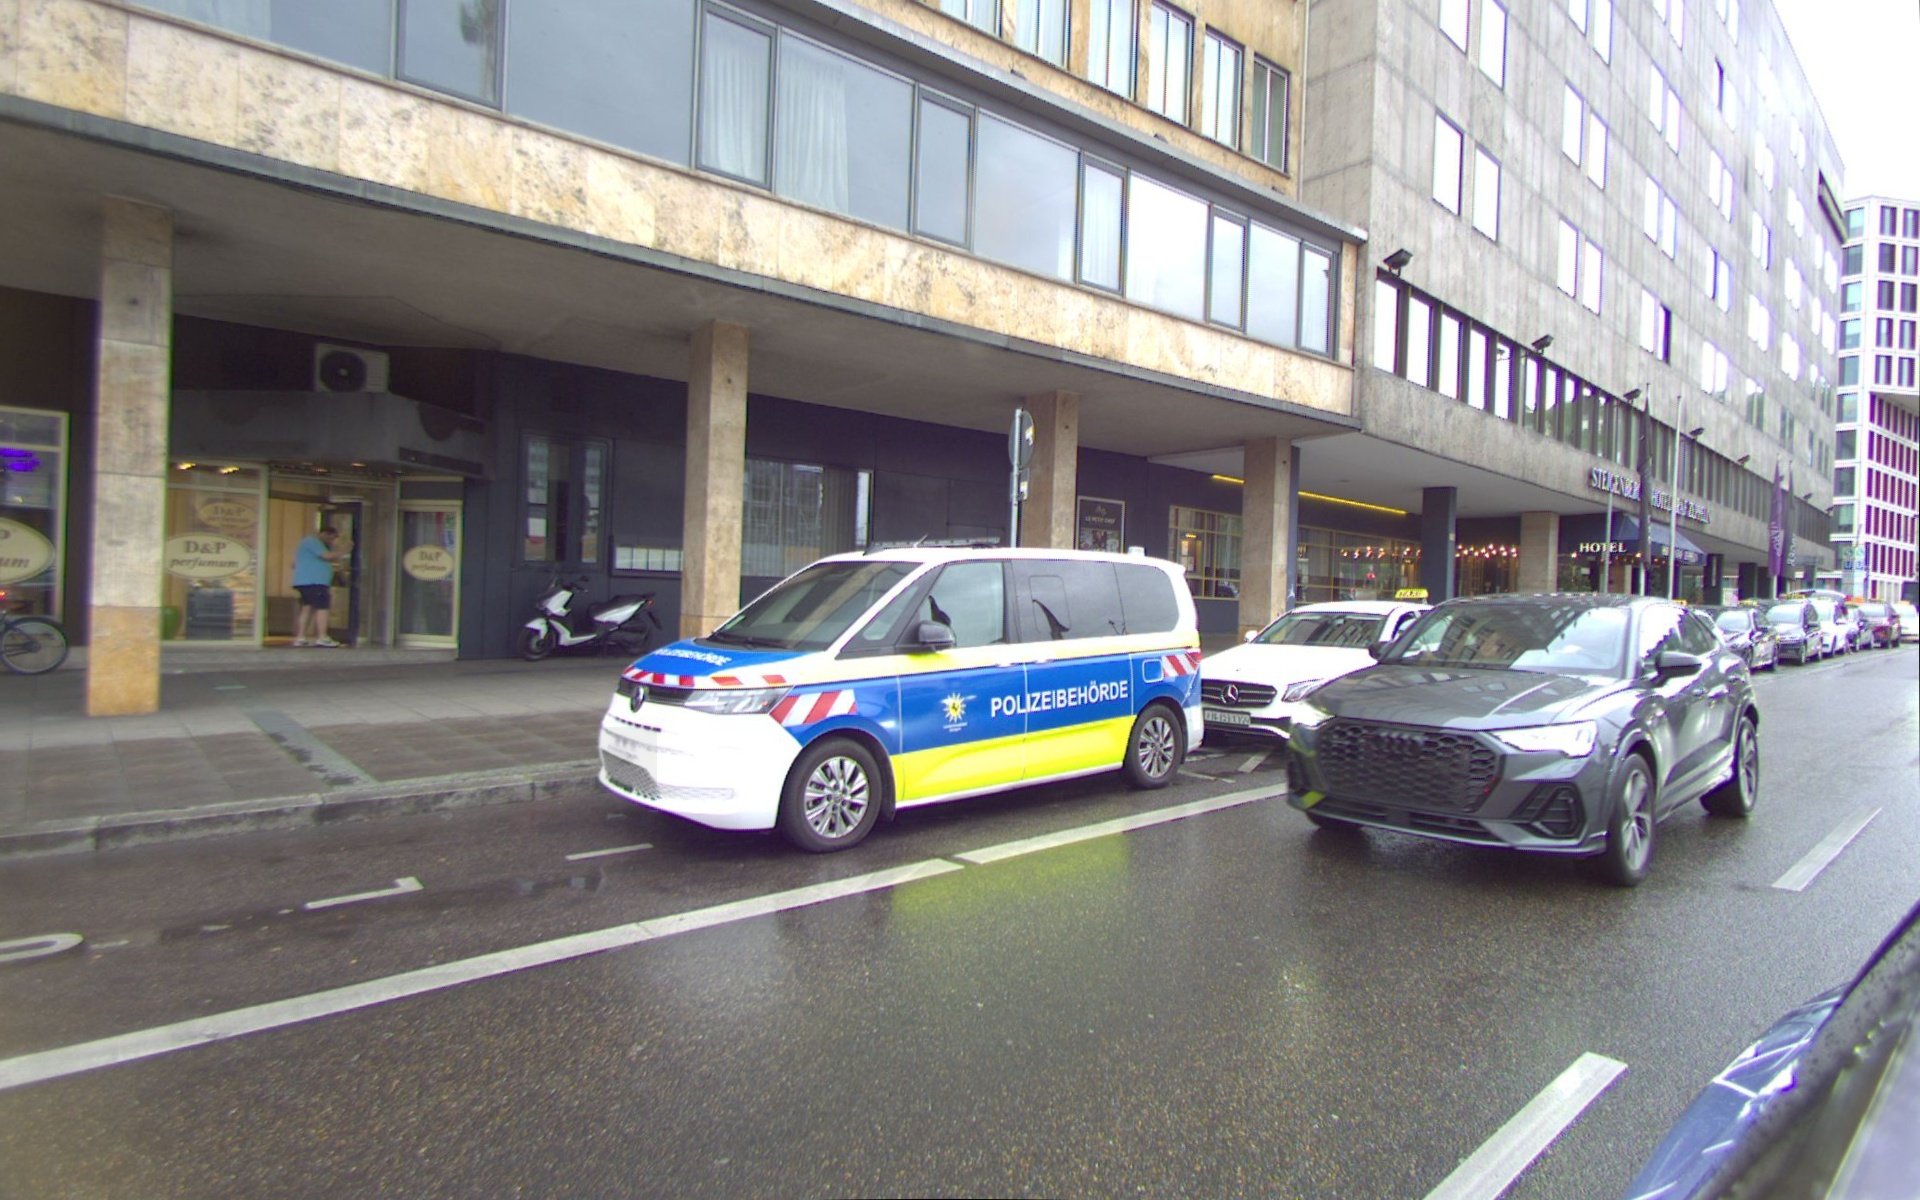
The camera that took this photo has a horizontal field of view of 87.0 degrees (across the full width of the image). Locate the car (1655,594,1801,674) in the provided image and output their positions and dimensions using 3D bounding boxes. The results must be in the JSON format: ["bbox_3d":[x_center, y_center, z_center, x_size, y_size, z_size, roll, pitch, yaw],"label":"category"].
[{"bbox_3d":[17.389,0.682,22.830,4.731,1.612,1.729,0,0,-41],"label":"car"}]

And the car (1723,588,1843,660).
[{"bbox_3d":[21.909,0.567,26.878,4.731,1.764,1.729,0,0,-41],"label":"car"}]

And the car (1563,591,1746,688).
[{"bbox_3d":[13.133,0.640,19.018,4.731,1.612,1.729,0,0,-41],"label":"car"}]

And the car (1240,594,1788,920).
[{"bbox_3d":[3.941,0.724,6.870,4.266,1.520,1.882,0,0,-41],"label":"car"}]

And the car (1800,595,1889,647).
[{"bbox_3d":[29.699,0.653,33.948,3.932,1.634,1.729,0,0,-41],"label":"car"}]

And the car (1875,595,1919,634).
[{"bbox_3d":[41.198,0.590,43.934,3.932,1.634,1.729,0,0,-41],"label":"car"}]

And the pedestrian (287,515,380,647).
[{"bbox_3d":[-8.992,-0.260,14.533,1.114,1.813,0.801,0,0,-33],"label":"pedestrian"}]

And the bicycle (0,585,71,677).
[{"bbox_3d":[-11.651,0.357,11.406,2.428,1.059,0.657,0,0,-41],"label":"bicycle"}]

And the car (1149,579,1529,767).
[{"bbox_3d":[4.390,0.625,11.266,4.924,1.658,1.877,0,0,-41],"label":"car"}]

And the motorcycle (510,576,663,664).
[{"bbox_3d":[-5.494,0.268,14.954,2.063,1.233,0.569,0,0,-33],"label":"motorcycle"}]

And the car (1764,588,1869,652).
[{"bbox_3d":[25.692,0.534,30.311,4.731,1.764,1.729,0,0,-41],"label":"car"}]

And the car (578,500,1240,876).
[{"bbox_3d":[-0.092,0.435,7.557,4.850,1.944,1.877,0,0,-41],"label":"car"}]

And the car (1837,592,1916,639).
[{"bbox_3d":[33.662,0.520,37.147,3.932,1.634,1.729,0,0,-41],"label":"car"}]

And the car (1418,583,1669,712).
[{"bbox_3d":[8.917,0.587,15.290,4.731,1.658,1.877,0,0,-41],"label":"car"}]
